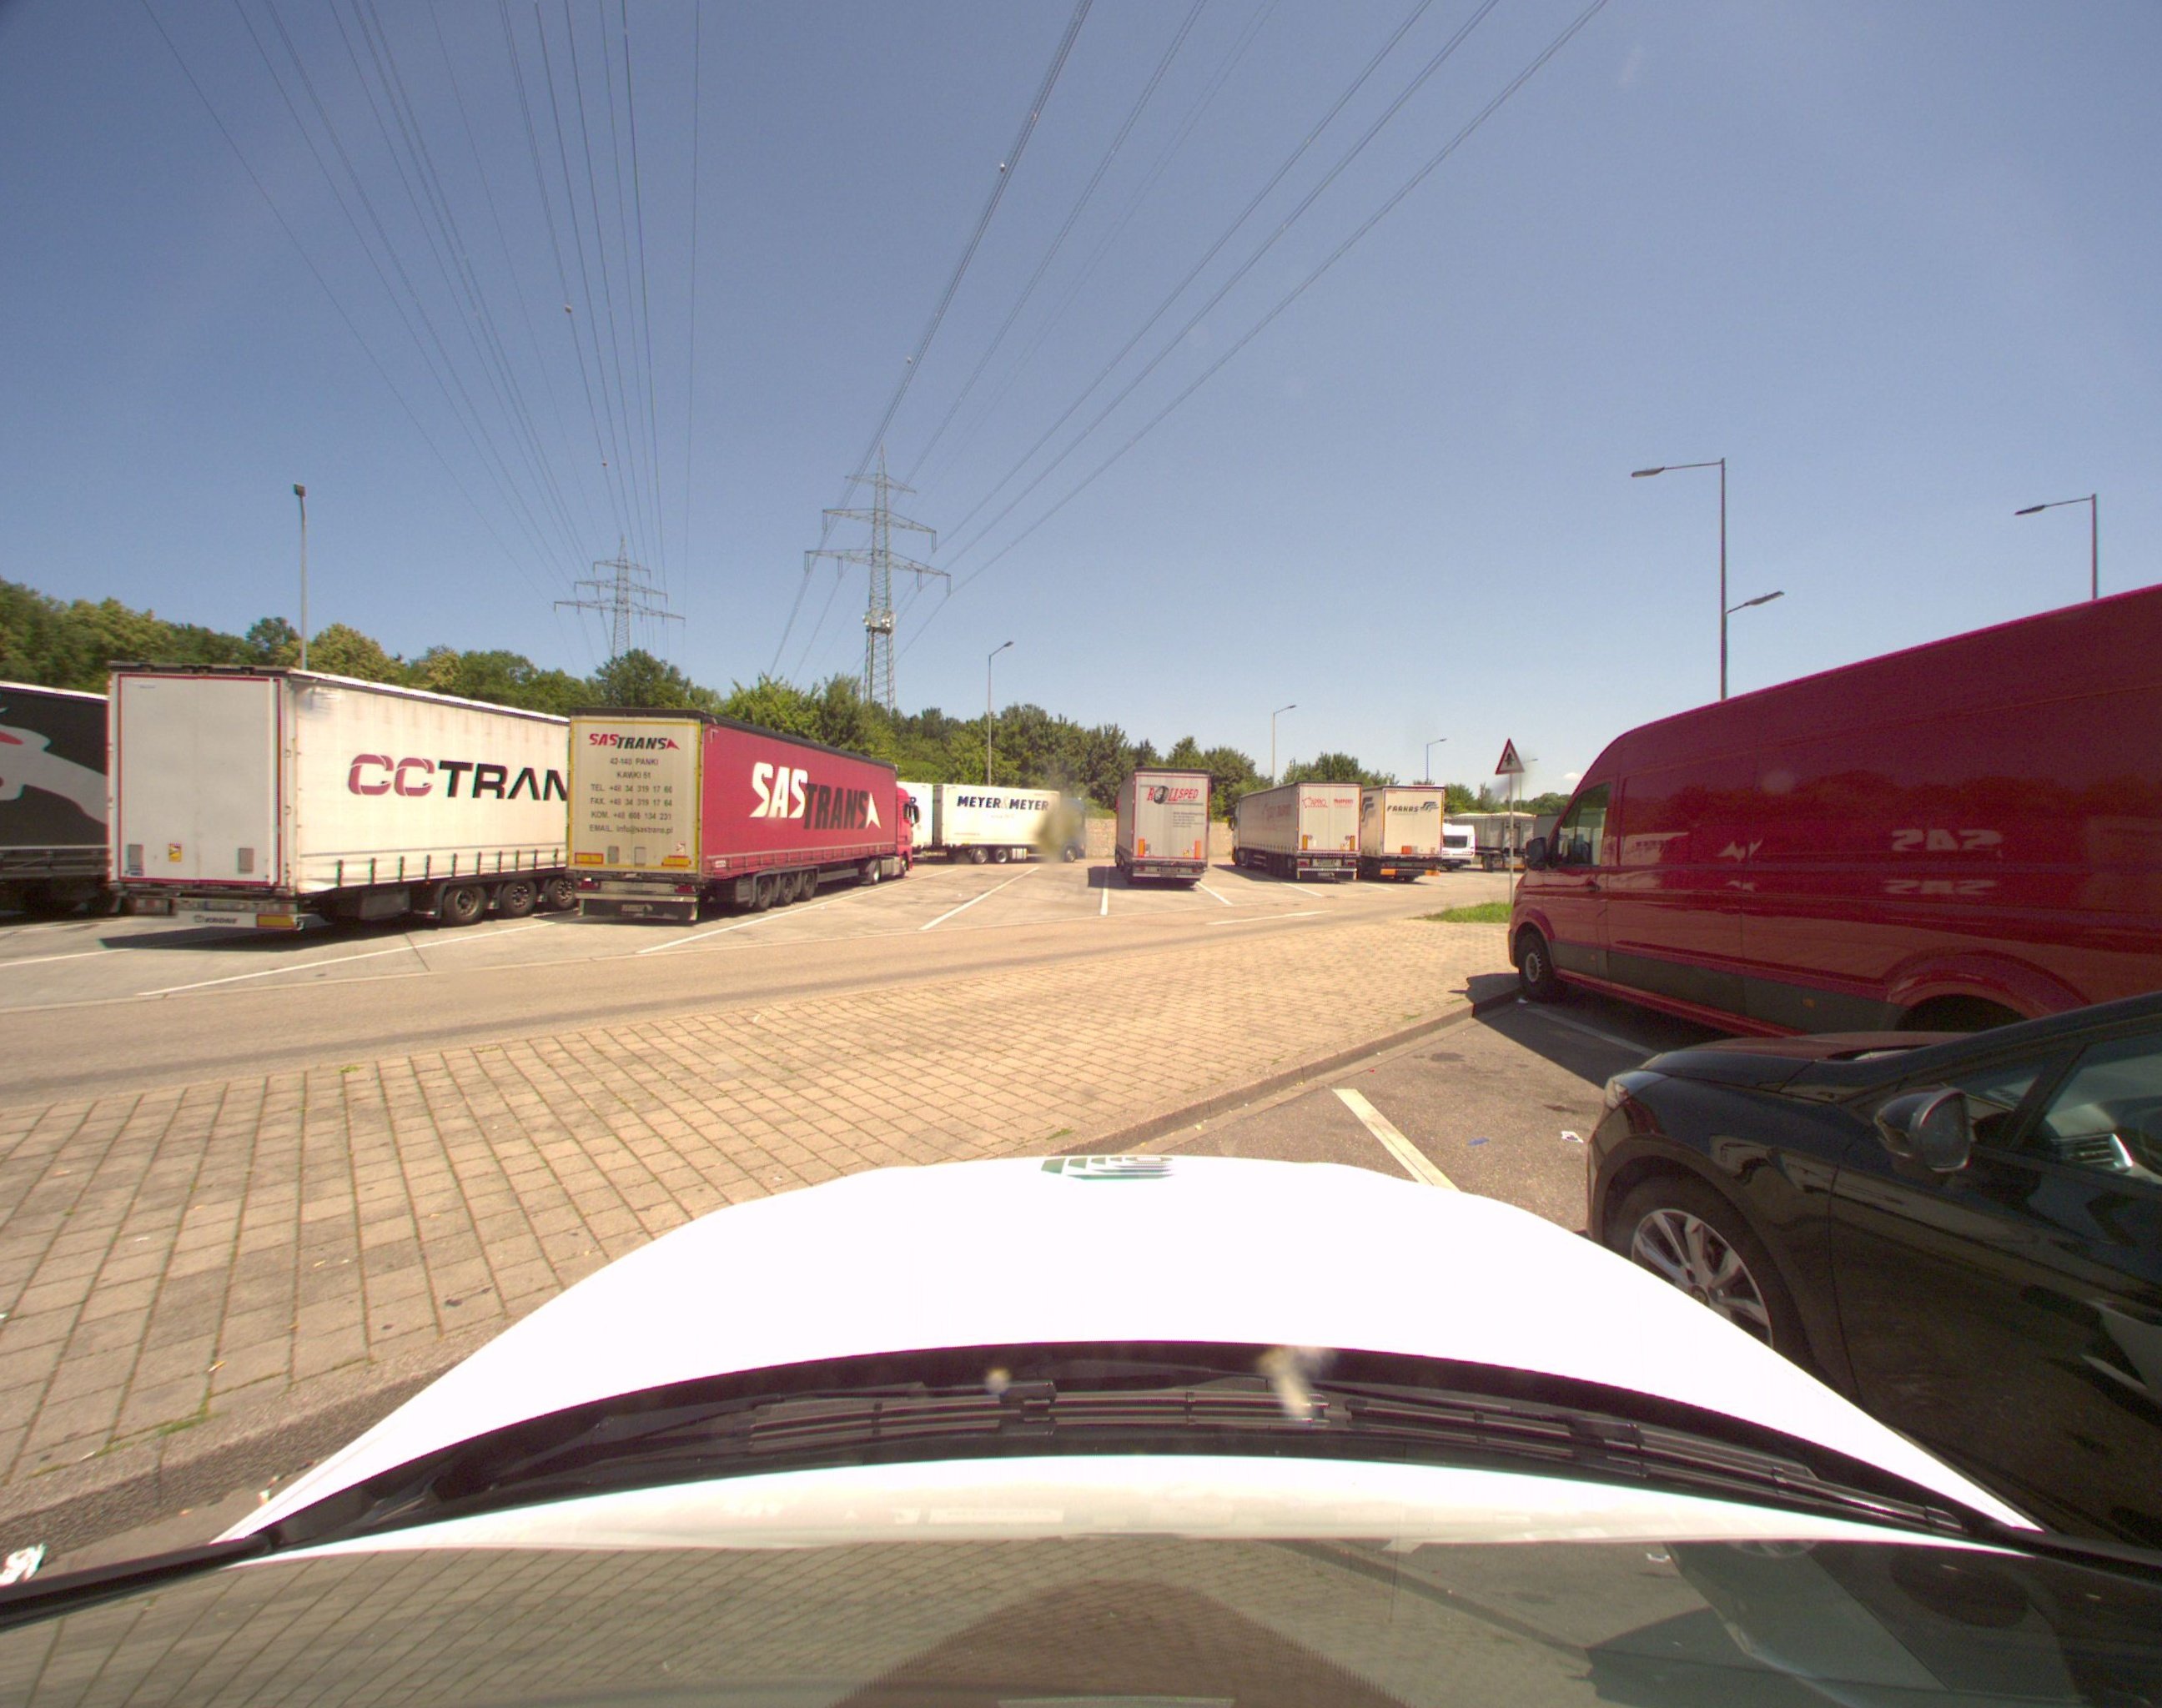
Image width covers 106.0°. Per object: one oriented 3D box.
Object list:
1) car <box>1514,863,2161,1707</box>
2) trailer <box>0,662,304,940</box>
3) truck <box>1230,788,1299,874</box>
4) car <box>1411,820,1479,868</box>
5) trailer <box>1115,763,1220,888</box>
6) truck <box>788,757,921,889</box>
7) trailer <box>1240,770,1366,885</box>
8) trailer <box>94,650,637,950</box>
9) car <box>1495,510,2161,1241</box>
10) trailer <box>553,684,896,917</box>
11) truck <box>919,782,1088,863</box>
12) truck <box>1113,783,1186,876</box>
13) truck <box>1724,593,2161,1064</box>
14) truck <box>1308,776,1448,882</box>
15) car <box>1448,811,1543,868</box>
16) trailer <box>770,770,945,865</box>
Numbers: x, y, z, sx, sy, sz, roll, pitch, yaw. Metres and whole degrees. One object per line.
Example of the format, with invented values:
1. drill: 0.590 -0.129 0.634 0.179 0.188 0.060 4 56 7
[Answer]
1. car: 2.534 0.751 1.062 1.773 1.457 3.679 0 -1 -5
2. trailer: -18.557 -0.869 14.859 2.668 4.444 6.151 -1 1 2
3. truck: 10.075 -1.233 45.197 2.651 4.452 5.866 -1 1 2
4. car: 20.536 -0.519 46.134 2.107 2.599 4.001 0 -1 2
5. trailer: 3.038 -0.999 31.963 2.888 4.013 11.315 -1 1 0
6. truck: -7.751 -1.025 28.715 2.795 4.133 5.896 -1 1 2
7. trailer: 9.901 -1.113 38.137 2.672 4.452 12.833 -1 1 1
8. trailer: -12.195 -0.807 15.446 2.744 4.152 8.291 0 1 2
9. car: 5.136 0.033 5.481 1.984 2.633 6.393 -1 1 5
10. trailer: -8.003 -1.073 21.457 2.789 4.219 13.208 -1 1 2
11. truck: -3.995 -1.566 44.956 10.112 4.033 2.214 0 0 -45
12. truck: 3.025 -1.082 37.802 2.862 3.980 6.028 0 1 0
13. truck: 7.820 -0.151 6.008 2.508 2.827 4.821 0 -1 3
14. truck: 13.530 -0.941 38.552 2.577 4.226 11.974 0 -1 2
15. car: 24.134 -0.823 47.755 2.490 3.074 6.353 -1 1 2
16. trailer: -10.386 -1.568 38.602 7.932 4.067 2.236 0 -1 -45
